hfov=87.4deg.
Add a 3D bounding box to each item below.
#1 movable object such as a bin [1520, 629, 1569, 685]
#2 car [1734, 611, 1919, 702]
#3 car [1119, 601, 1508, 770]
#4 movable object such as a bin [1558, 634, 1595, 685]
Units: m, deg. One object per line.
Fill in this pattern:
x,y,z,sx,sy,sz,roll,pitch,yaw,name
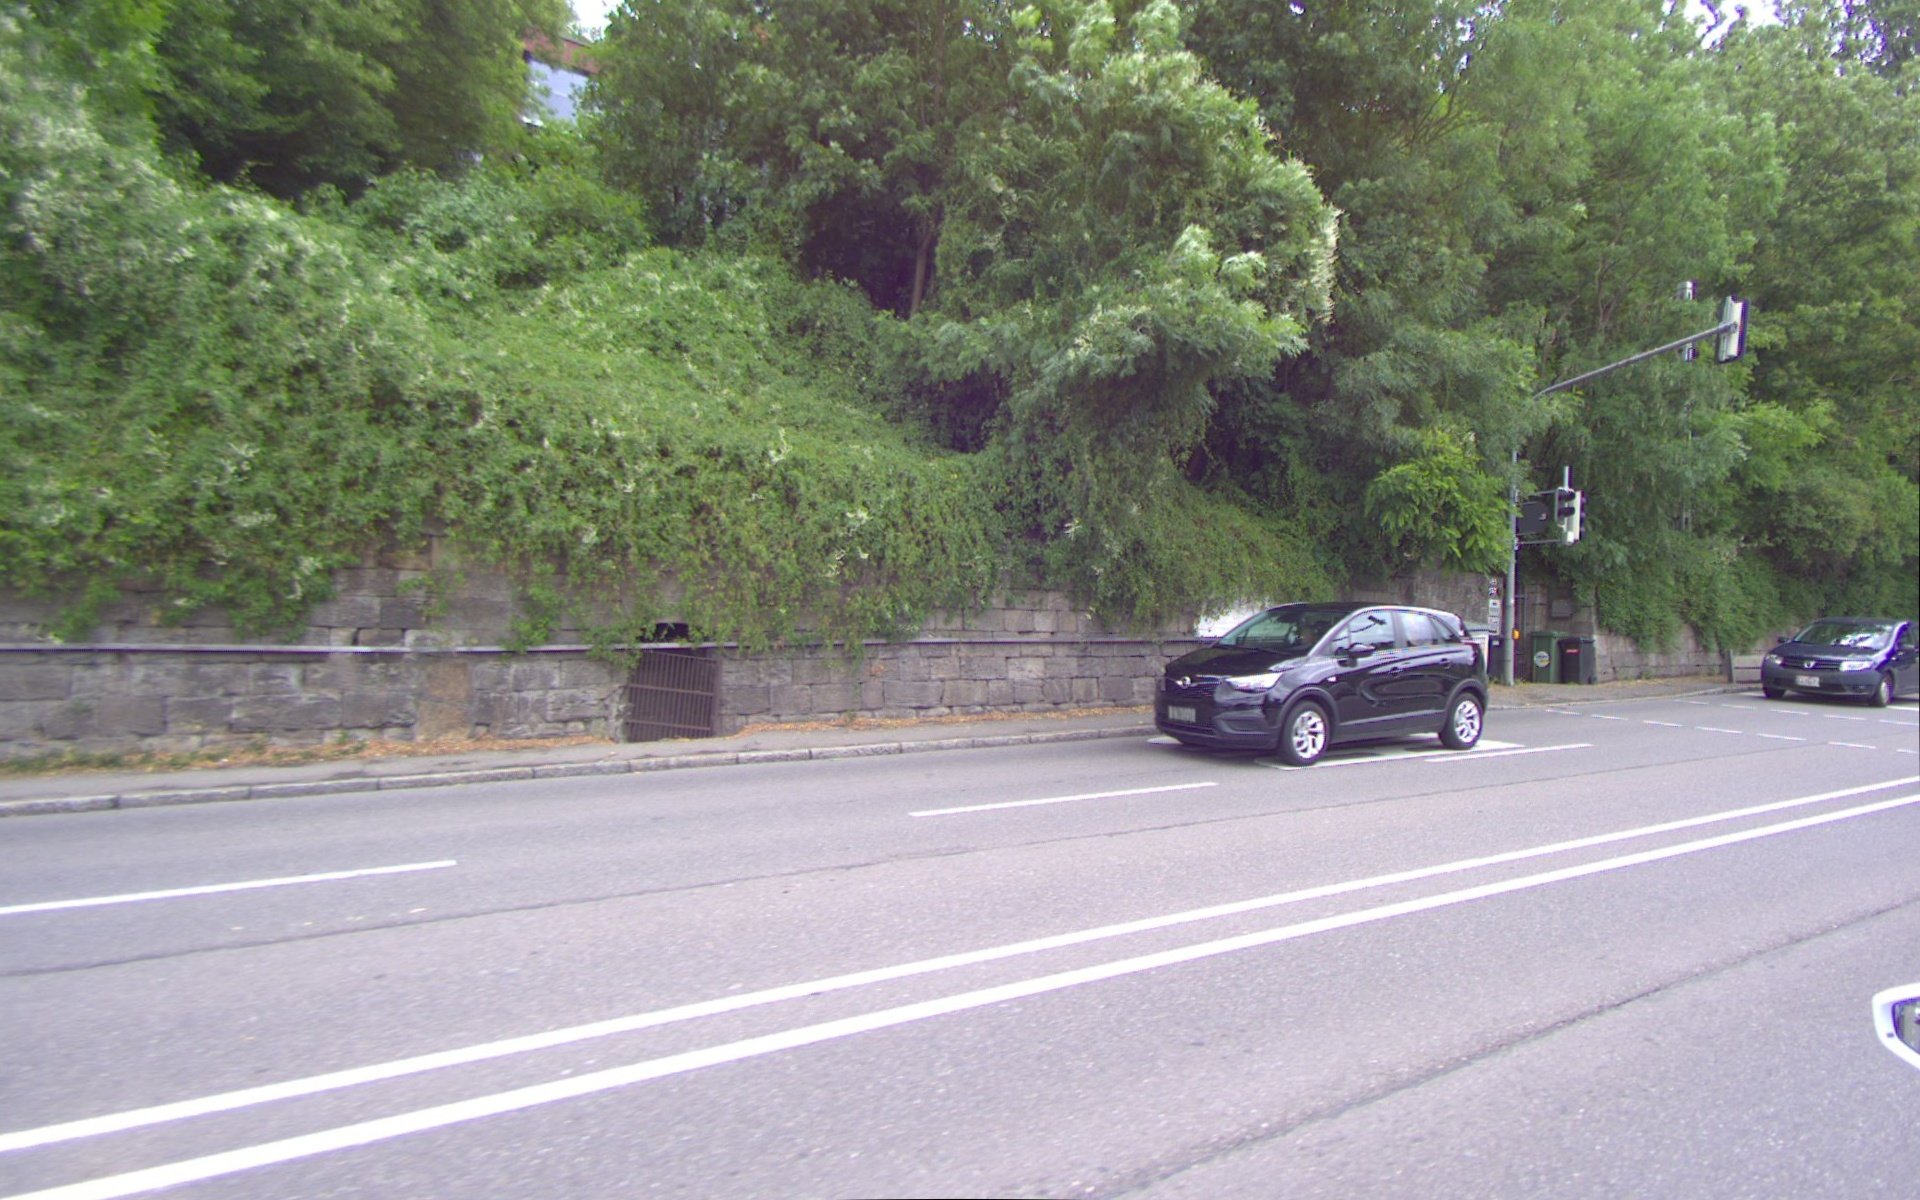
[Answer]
11.828,1.144,20.331,0.550,1.081,0.638,1,1,-31,movable object such as a bin
16.383,0.995,18.618,4.200,1.453,1.803,1,1,-31,car
3.955,0.809,11.095,4.162,1.502,1.772,1,2,-31,car
12.209,1.168,19.882,0.473,0.963,0.425,1,1,-31,movable object such as a bin
